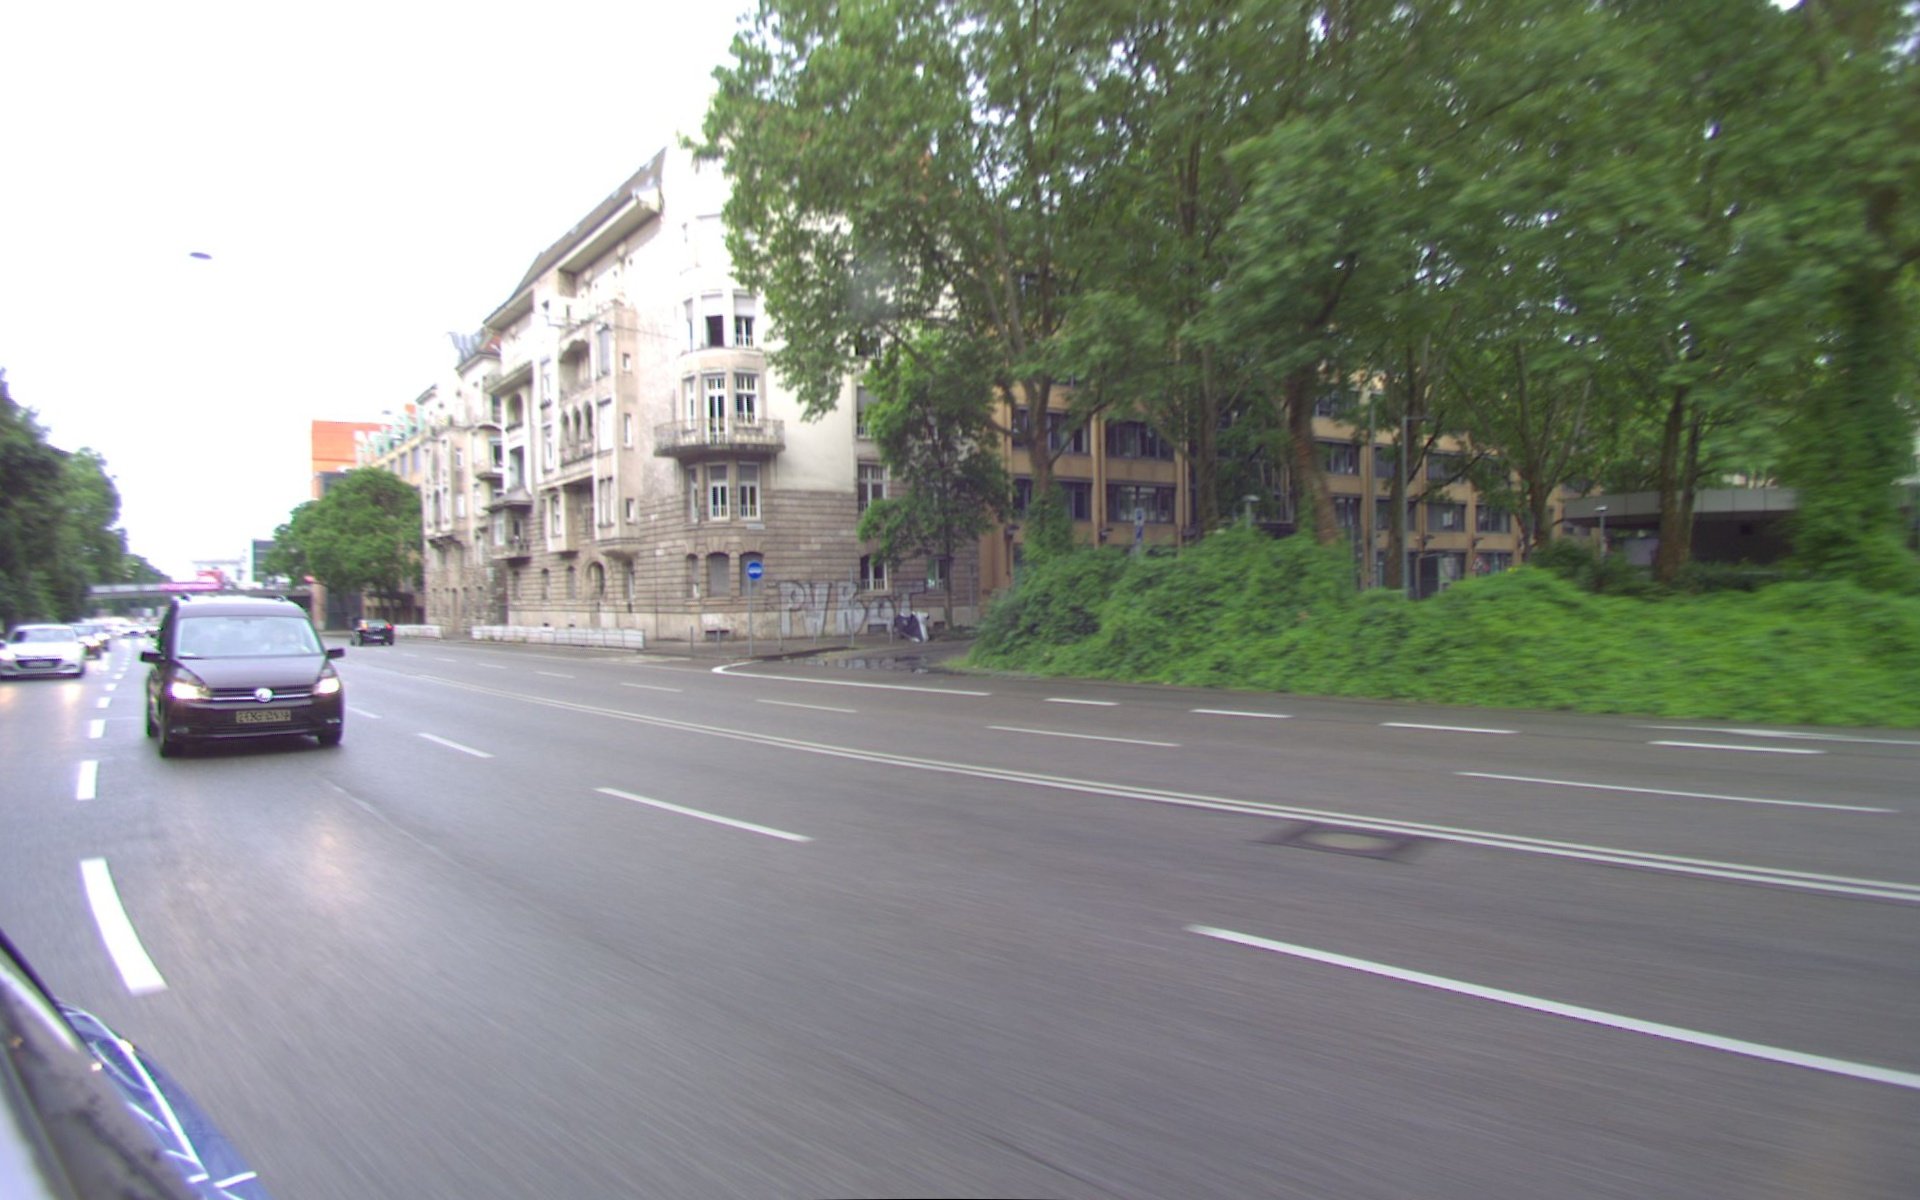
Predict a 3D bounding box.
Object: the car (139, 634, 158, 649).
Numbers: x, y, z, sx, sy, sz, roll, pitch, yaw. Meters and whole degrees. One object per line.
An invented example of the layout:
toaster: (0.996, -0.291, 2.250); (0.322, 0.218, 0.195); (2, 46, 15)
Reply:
car: (-112.002, 5.733, 139.620); (1.850, 1.785, 4.007); (-4, 2, -40)

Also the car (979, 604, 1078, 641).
car: (2.935, 0.920, 42.860); (3.933, 1.371, 1.699); (-2, 0, -34)

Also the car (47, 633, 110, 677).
car: (-38.219, 2.358, 43.951); (1.774, 1.608, 4.008); (-4, 2, -38)

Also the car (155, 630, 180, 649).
car: (-82.060, 4.045, 104.743); (1.850, 1.785, 4.007); (-4, 2, -40)

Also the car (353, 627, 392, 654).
car: (-32.197, 2.192, 55.422); (1.678, 1.349, 3.926); (-1, -1, -33)

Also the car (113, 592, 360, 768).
car: (-8.999, 0.882, 12.467); (4.001, 1.804, 1.817); (-2, -2, 44)

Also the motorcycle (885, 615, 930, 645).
motorcycle: (-2.095, 1.173, 39.981); (0.497, 1.150, 2.398); (-1, 0, -37)

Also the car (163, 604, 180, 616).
car: (-115.383, 1.518, 148.046); (1.796, 1.623, 4.009); (-4, 2, -37)

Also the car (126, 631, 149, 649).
car: (-91.709, 4.429, 112.826); (1.850, 1.785, 4.007); (-4, 2, -40)

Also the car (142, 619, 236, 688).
car: (-20.682, 1.370, 27.084); (1.706, 1.625, 4.006); (-3, 1, -41)

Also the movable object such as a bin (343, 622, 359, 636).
movable object such as a bin: (-64.366, 3.049, 106.910); (1.056, 1.447, 1.373); (-4, 1, -45)

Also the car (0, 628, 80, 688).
car: (-25.509, 1.548, 27.993); (1.706, 1.450, 4.006); (-3, 1, -41)
